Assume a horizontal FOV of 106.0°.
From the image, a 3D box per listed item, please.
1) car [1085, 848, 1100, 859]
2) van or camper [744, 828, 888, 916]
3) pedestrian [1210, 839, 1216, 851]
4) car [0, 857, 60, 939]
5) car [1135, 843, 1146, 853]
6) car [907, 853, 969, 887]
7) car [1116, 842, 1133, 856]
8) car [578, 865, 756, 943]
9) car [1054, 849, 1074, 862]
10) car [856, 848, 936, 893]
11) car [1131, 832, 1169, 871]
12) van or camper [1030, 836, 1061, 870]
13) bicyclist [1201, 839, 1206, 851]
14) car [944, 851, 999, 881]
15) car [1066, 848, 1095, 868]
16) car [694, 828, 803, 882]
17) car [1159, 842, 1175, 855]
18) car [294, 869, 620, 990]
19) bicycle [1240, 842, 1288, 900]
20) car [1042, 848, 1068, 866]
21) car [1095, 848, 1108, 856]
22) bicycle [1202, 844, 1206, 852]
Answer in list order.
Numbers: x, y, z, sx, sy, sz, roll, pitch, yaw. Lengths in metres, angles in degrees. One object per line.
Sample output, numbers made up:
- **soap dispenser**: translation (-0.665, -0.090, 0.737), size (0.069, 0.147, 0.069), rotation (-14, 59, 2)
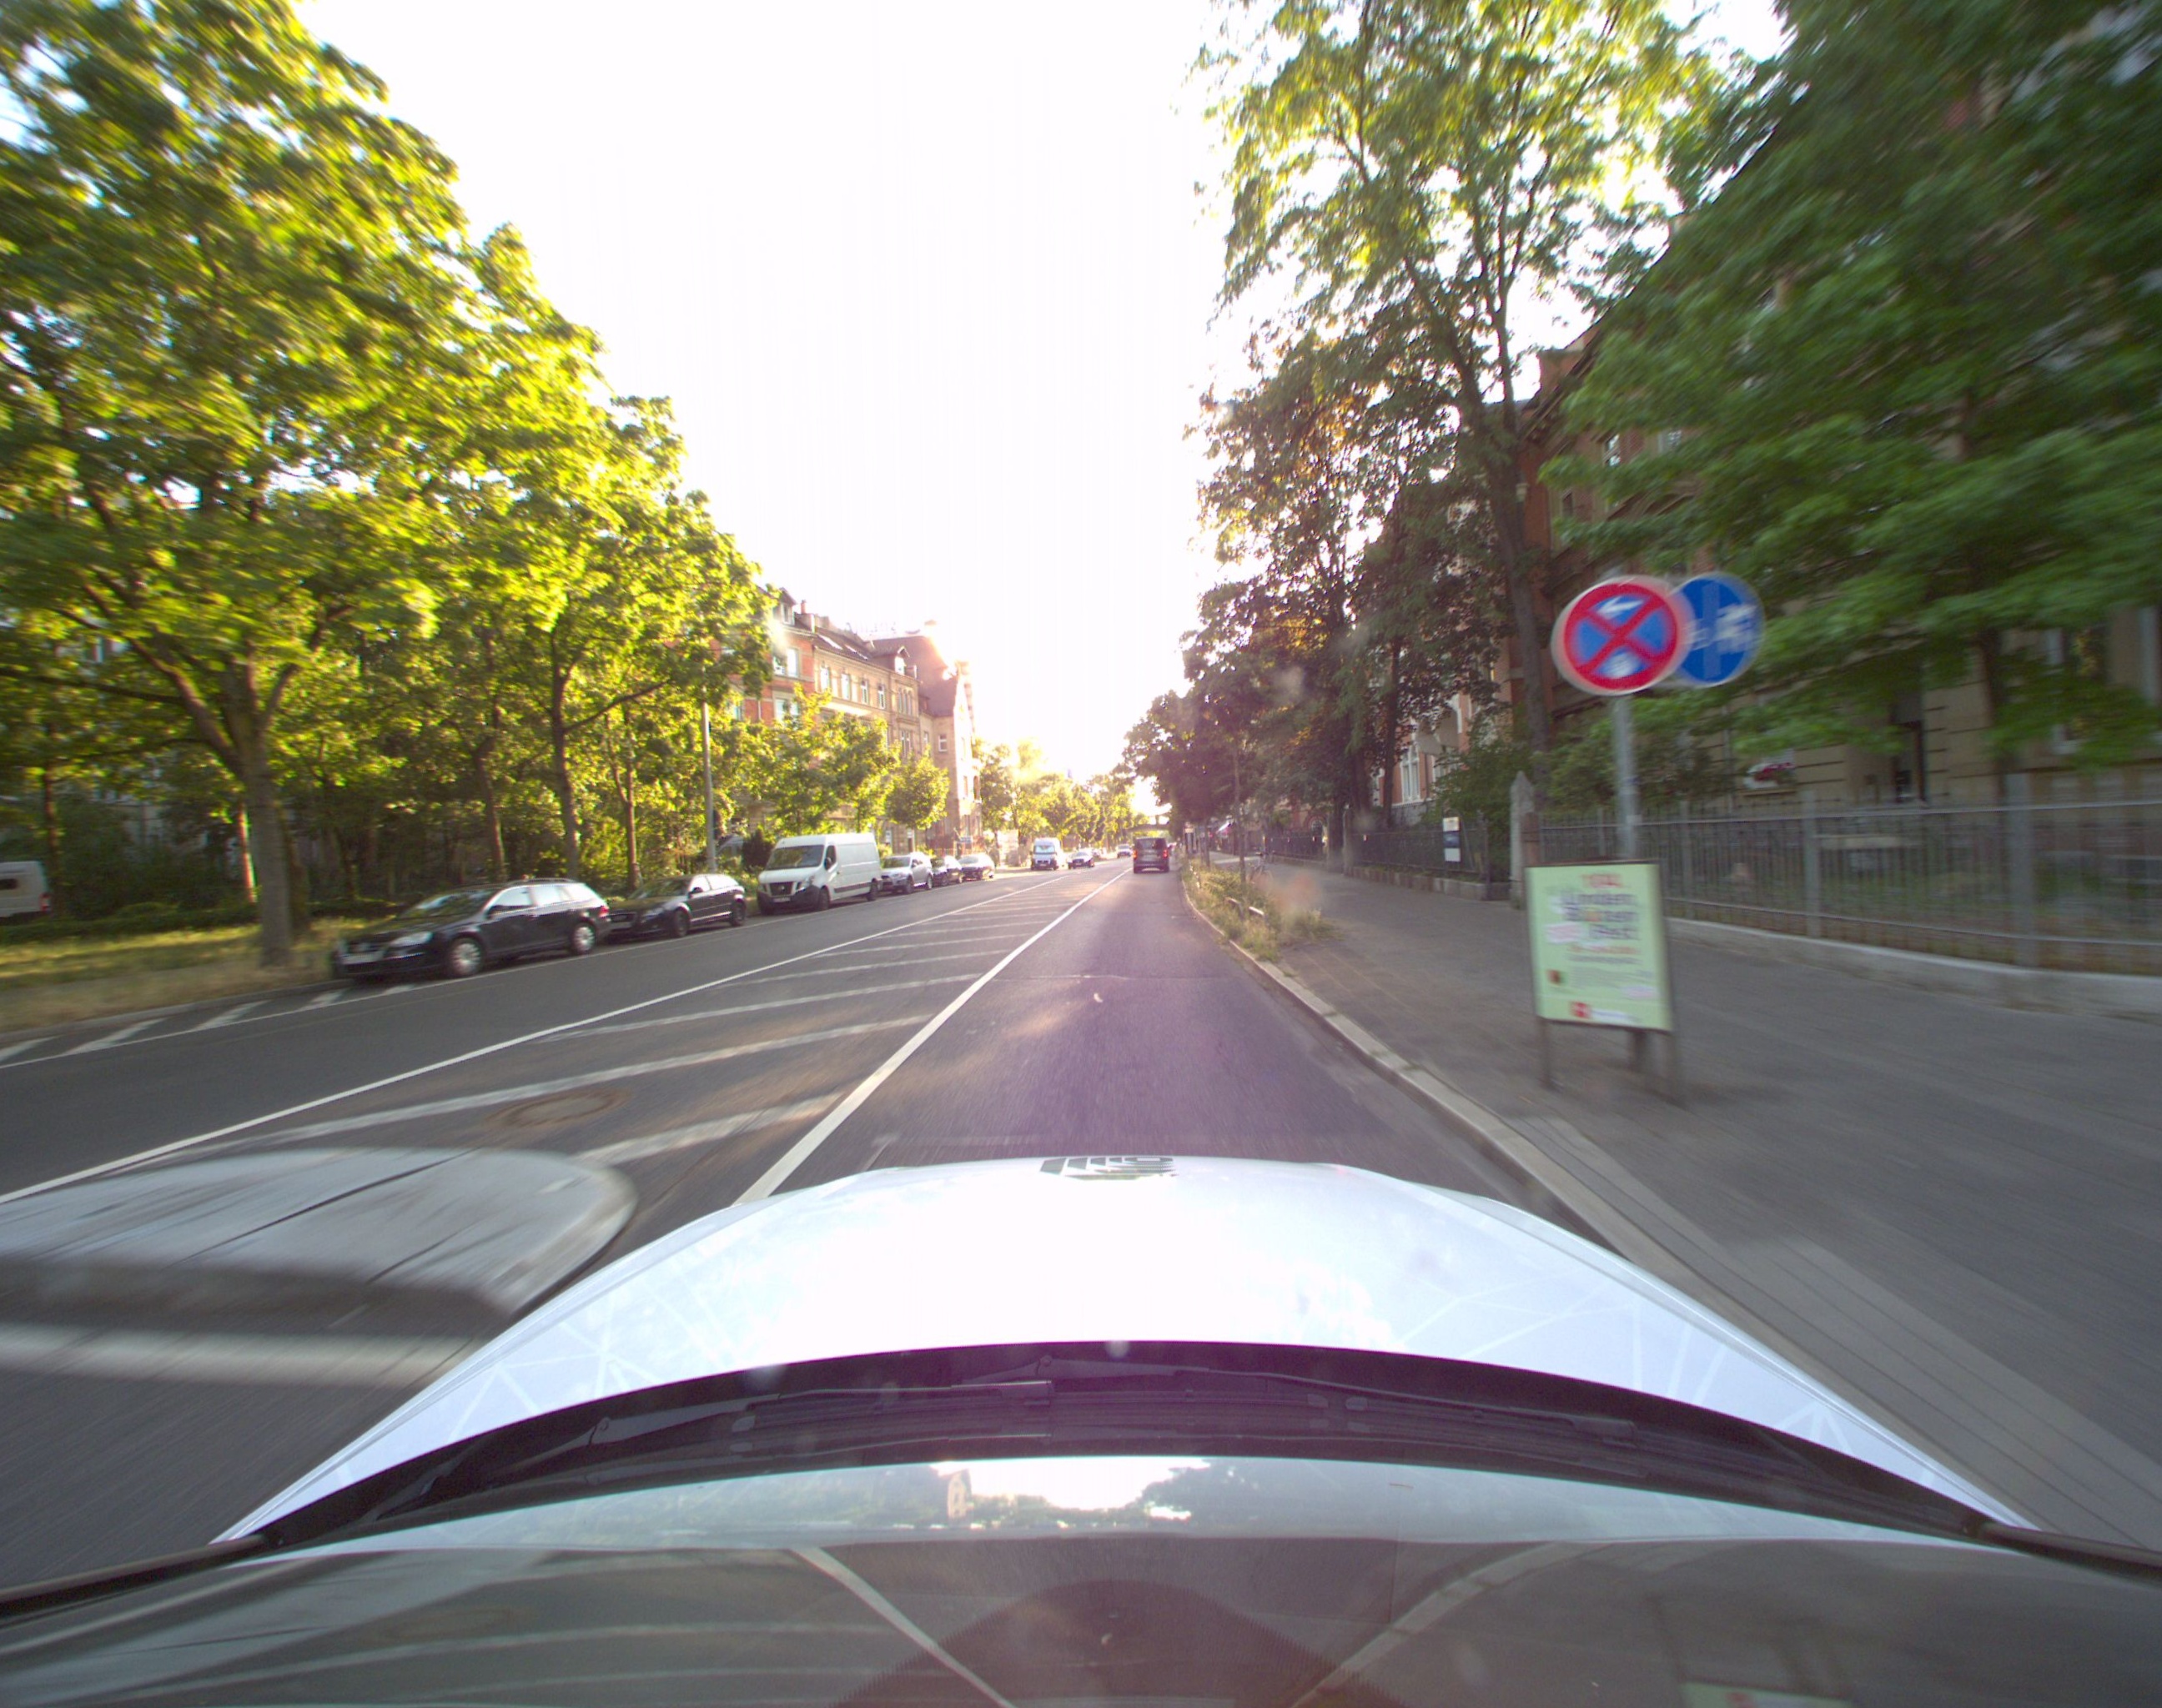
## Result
- **car**: translation (1.560, -0.079, 108.645), size (1.630, 1.385, 4.006), rotation (-1, 1, 5)
- **van or camper**: translation (-8.639, 0.492, 27.342), size (2.080, 2.468, 6.316), rotation (-4, 0, 5)
- **pedestrian**: translation (17.562, -1.213, 108.283), size (0.641, 1.633, 0.657), rotation (-1, 0, 6)
- **car**: translation (-35.045, 1.467, 24.500), size (2.244, 2.485, 5.268), rotation (-2, 1, 40)
- **car**: translation (11.209, -1.150, 153.600), size (1.824, 1.852, 4.481), rotation (-4, 0, 5)
- **car**: translation (-7.009, 0.764, 40.446), size (1.727, 1.445, 4.633), rotation (-3, 1, 6)
- **car**: translation (6.334, -0.756, 119.123), size (1.983, 1.831, 5.180), rotation (-4, 0, 7)
- **car**: translation (-9.577, 1.089, 19.283), size (1.620, 1.429, 4.249), rotation (-4, 0, 5)
- **car**: translation (-1.663, 0.119, 81.256), size (1.528, 1.248, 3.620), rotation (-1, 1, 5)
- **car**: translation (-7.723, 0.647, 34.508), size (1.856, 1.644, 4.579), rotation (-4, 0, 6)
- **car**: translation (3.772, -0.138, 44.179), size (1.878, 1.925, 3.845), rotation (-3, 1, 6)
- **van or camper**: translation (-2.854, -0.102, 66.842), size (1.986, 2.668, 6.042), rotation (-1, 1, 2)
- **bicyclist**: translation (15.865, -1.162, 105.115), size (0.592, 1.532, 0.895), rotation (-1, 0, 6)
- **car**: translation (-6.163, 0.632, 46.473), size (1.983, 1.483, 4.837), rotation (-3, 0, 6)
- **car**: translation (-0.012, 0.309, 65.759), size (1.757, 1.402, 4.552), rotation (-3, 0, 6)
- **car**: translation (-18.807, 0.026, 46.341), size (2.099, 2.739, 5.344), rotation (-4, 0, 31)
- **car**: translation (11.888, -0.772, 112.466), size (1.984, 1.634, 4.006), rotation (-3, 1, 5)
- **car**: translation (-10.191, 1.129, 13.867), size (1.615, 1.506, 4.552), rotation (-3, 0, 6)
- **bicycle**: translation (3.874, 0.330, 17.359), size (0.643, 1.167, 1.932), rotation (-1, 1, 2)
- **car**: translation (-2.348, 0.257, 74.704), size (1.737, 1.534, 4.309), rotation (-1, 1, 5)
- **car**: translation (3.743, -0.393, 147.682), size (1.983, 1.414, 4.245), rotation (-1, 1, 6)
- **bicycle**: translation (15.861, -0.742, 105.060), size (0.514, 1.040, 2.092), rotation (-1, 1, 6)
